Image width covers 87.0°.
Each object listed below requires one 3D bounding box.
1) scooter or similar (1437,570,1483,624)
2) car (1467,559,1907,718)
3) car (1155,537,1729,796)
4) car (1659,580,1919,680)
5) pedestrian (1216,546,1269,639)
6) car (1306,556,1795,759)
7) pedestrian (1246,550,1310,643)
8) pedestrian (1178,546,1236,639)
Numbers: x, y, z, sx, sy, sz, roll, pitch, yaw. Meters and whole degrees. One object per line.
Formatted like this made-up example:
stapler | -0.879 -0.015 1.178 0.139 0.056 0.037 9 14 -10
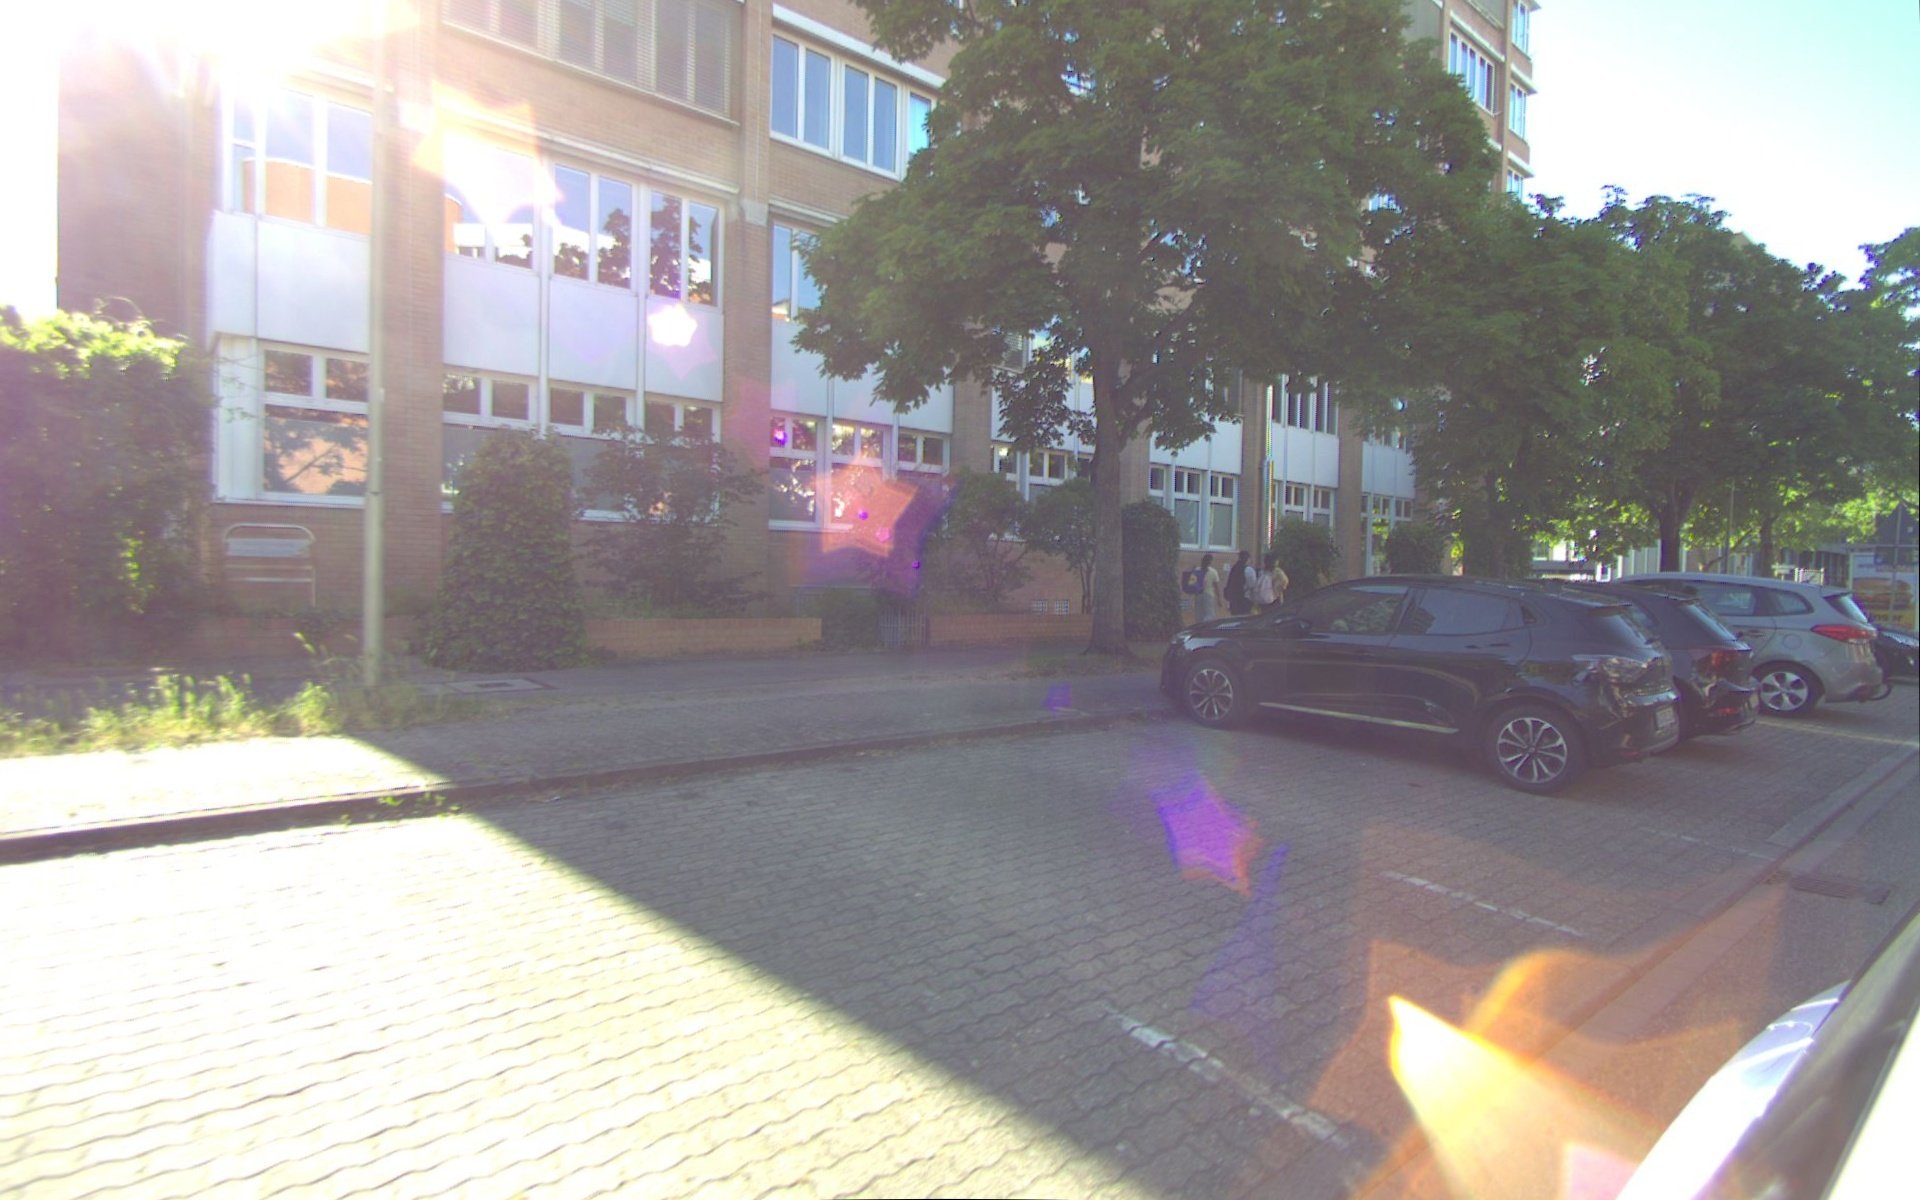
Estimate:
scooter or similar | 12.936 -0.085 26.148 0.549 1.342 1.777 0 1 44
car | 9.202 0.343 13.062 4.353 1.617 1.909 4 3 44
car | 3.763 0.338 8.400 1.794 1.501 3.854 1 4 -43
car | 14.734 0.455 17.593 1.744 1.457 3.941 0 3 -42
pedestrian | 4.792 -0.139 17.143 0.584 1.539 0.603 0 2 -43
car | 5.640 0.405 9.983 1.674 1.425 3.804 0 4 -45
pedestrian | 5.215 -0.067 16.600 0.703 1.476 0.701 0 2 -43
pedestrian | 4.312 -0.141 17.682 0.550 1.571 0.757 0 2 -43
